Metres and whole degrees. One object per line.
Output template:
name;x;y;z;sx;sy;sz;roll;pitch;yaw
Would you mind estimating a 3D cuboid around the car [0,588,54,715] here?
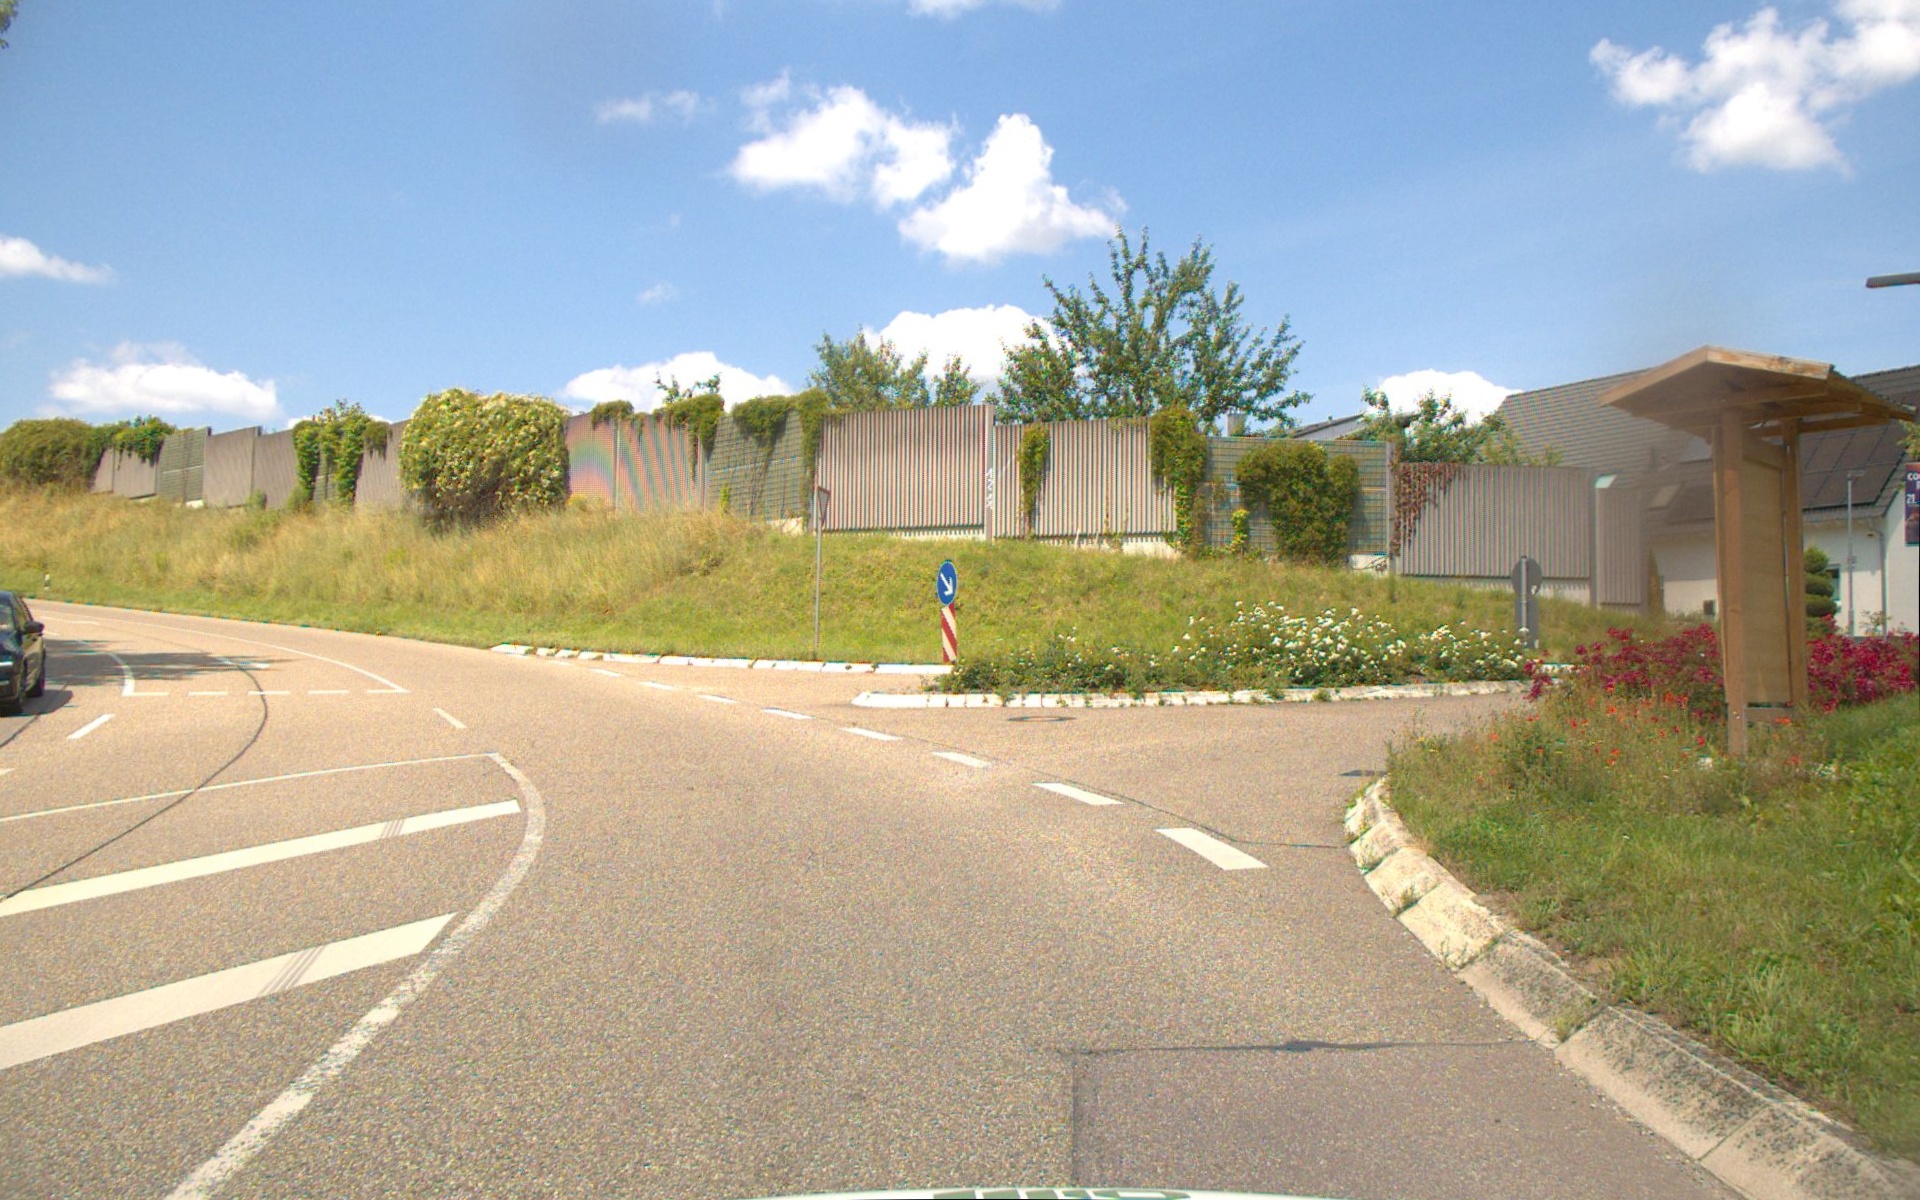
car;-12.414;0.595;20.522;1.662;1.444;4.312;0;0;-24
